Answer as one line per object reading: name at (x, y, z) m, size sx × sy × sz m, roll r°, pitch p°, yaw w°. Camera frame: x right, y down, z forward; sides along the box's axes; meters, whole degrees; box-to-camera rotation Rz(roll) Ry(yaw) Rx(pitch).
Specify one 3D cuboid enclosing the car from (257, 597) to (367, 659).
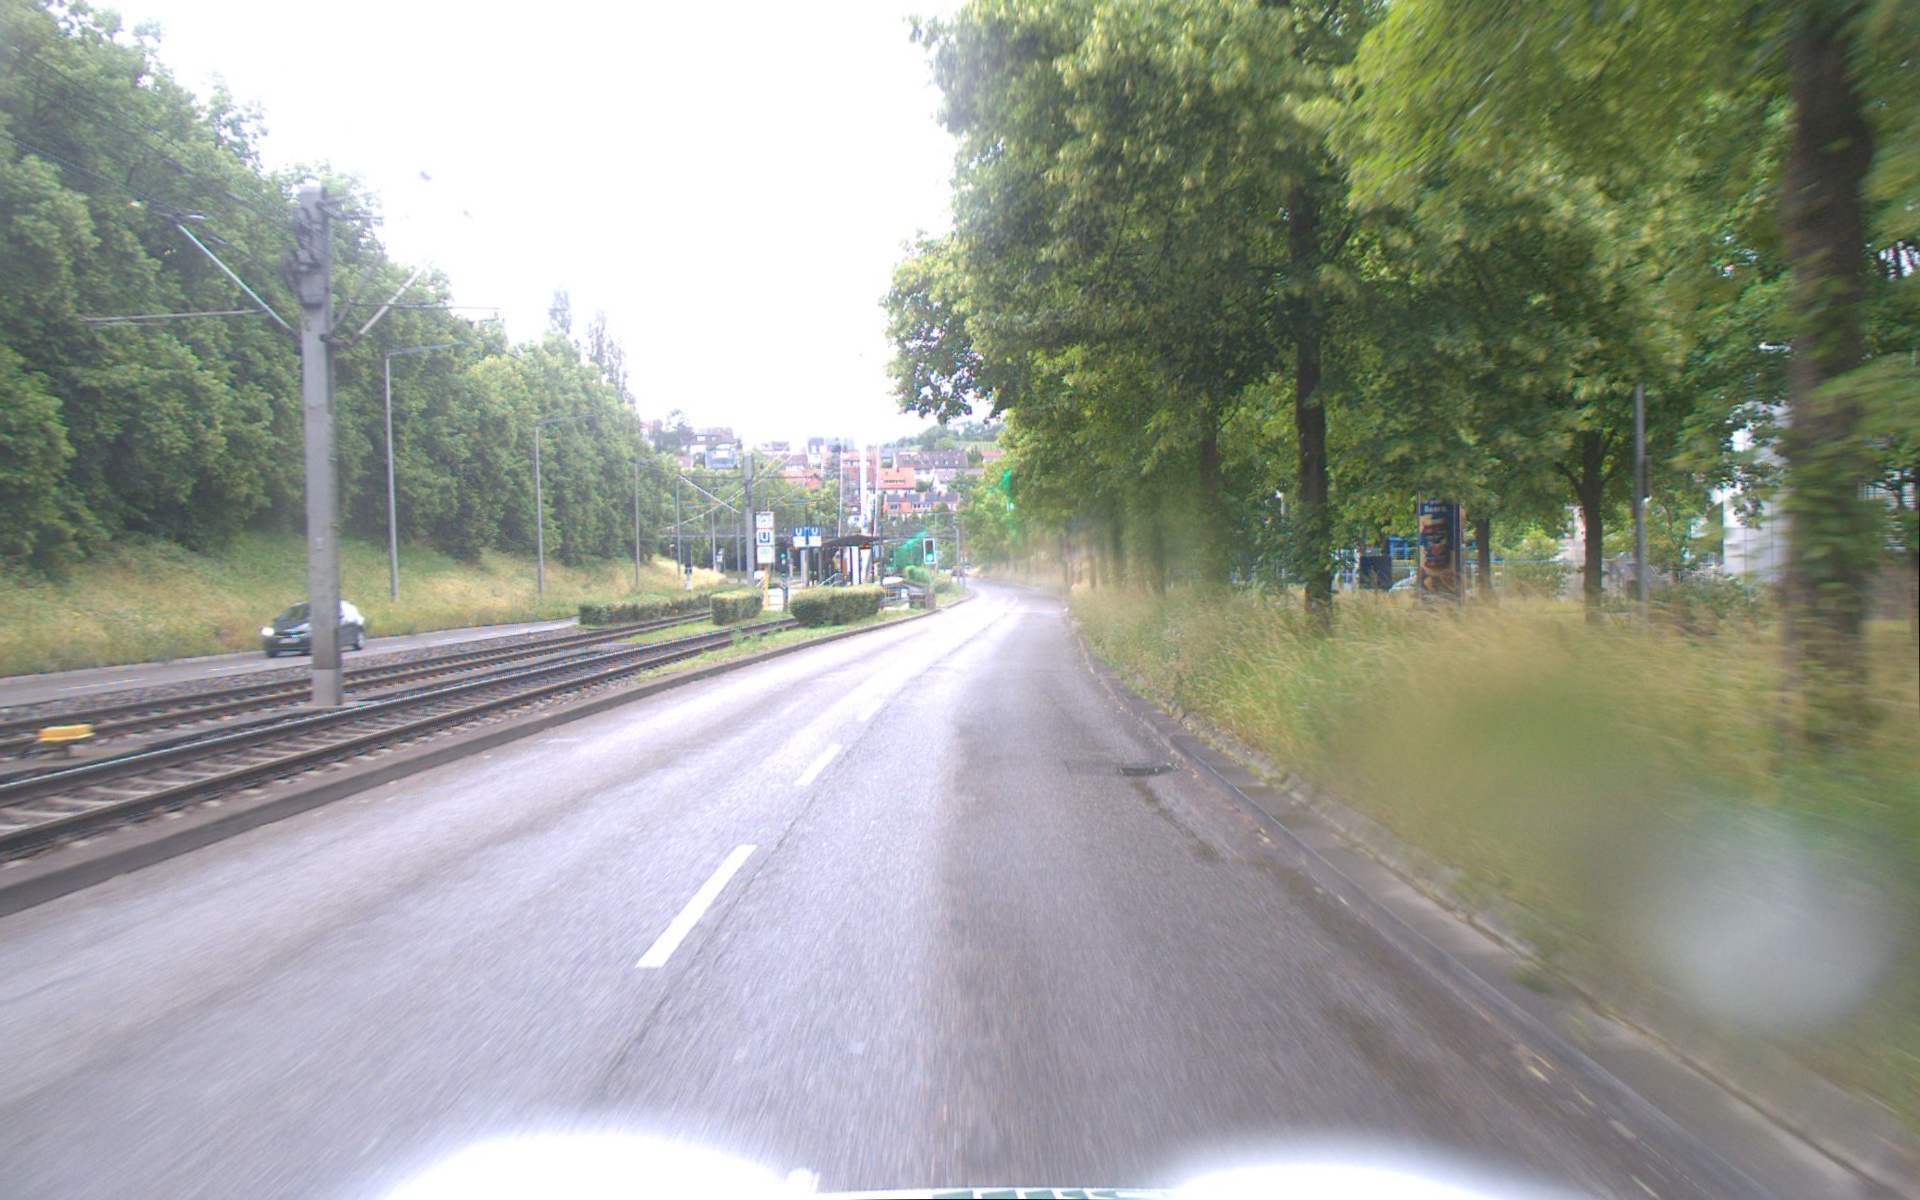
car at (-18.408, 0.766, 47.143) m, size 1.750 × 1.579 × 3.958 m, roll -3°, pitch 1°, yaw -4°
